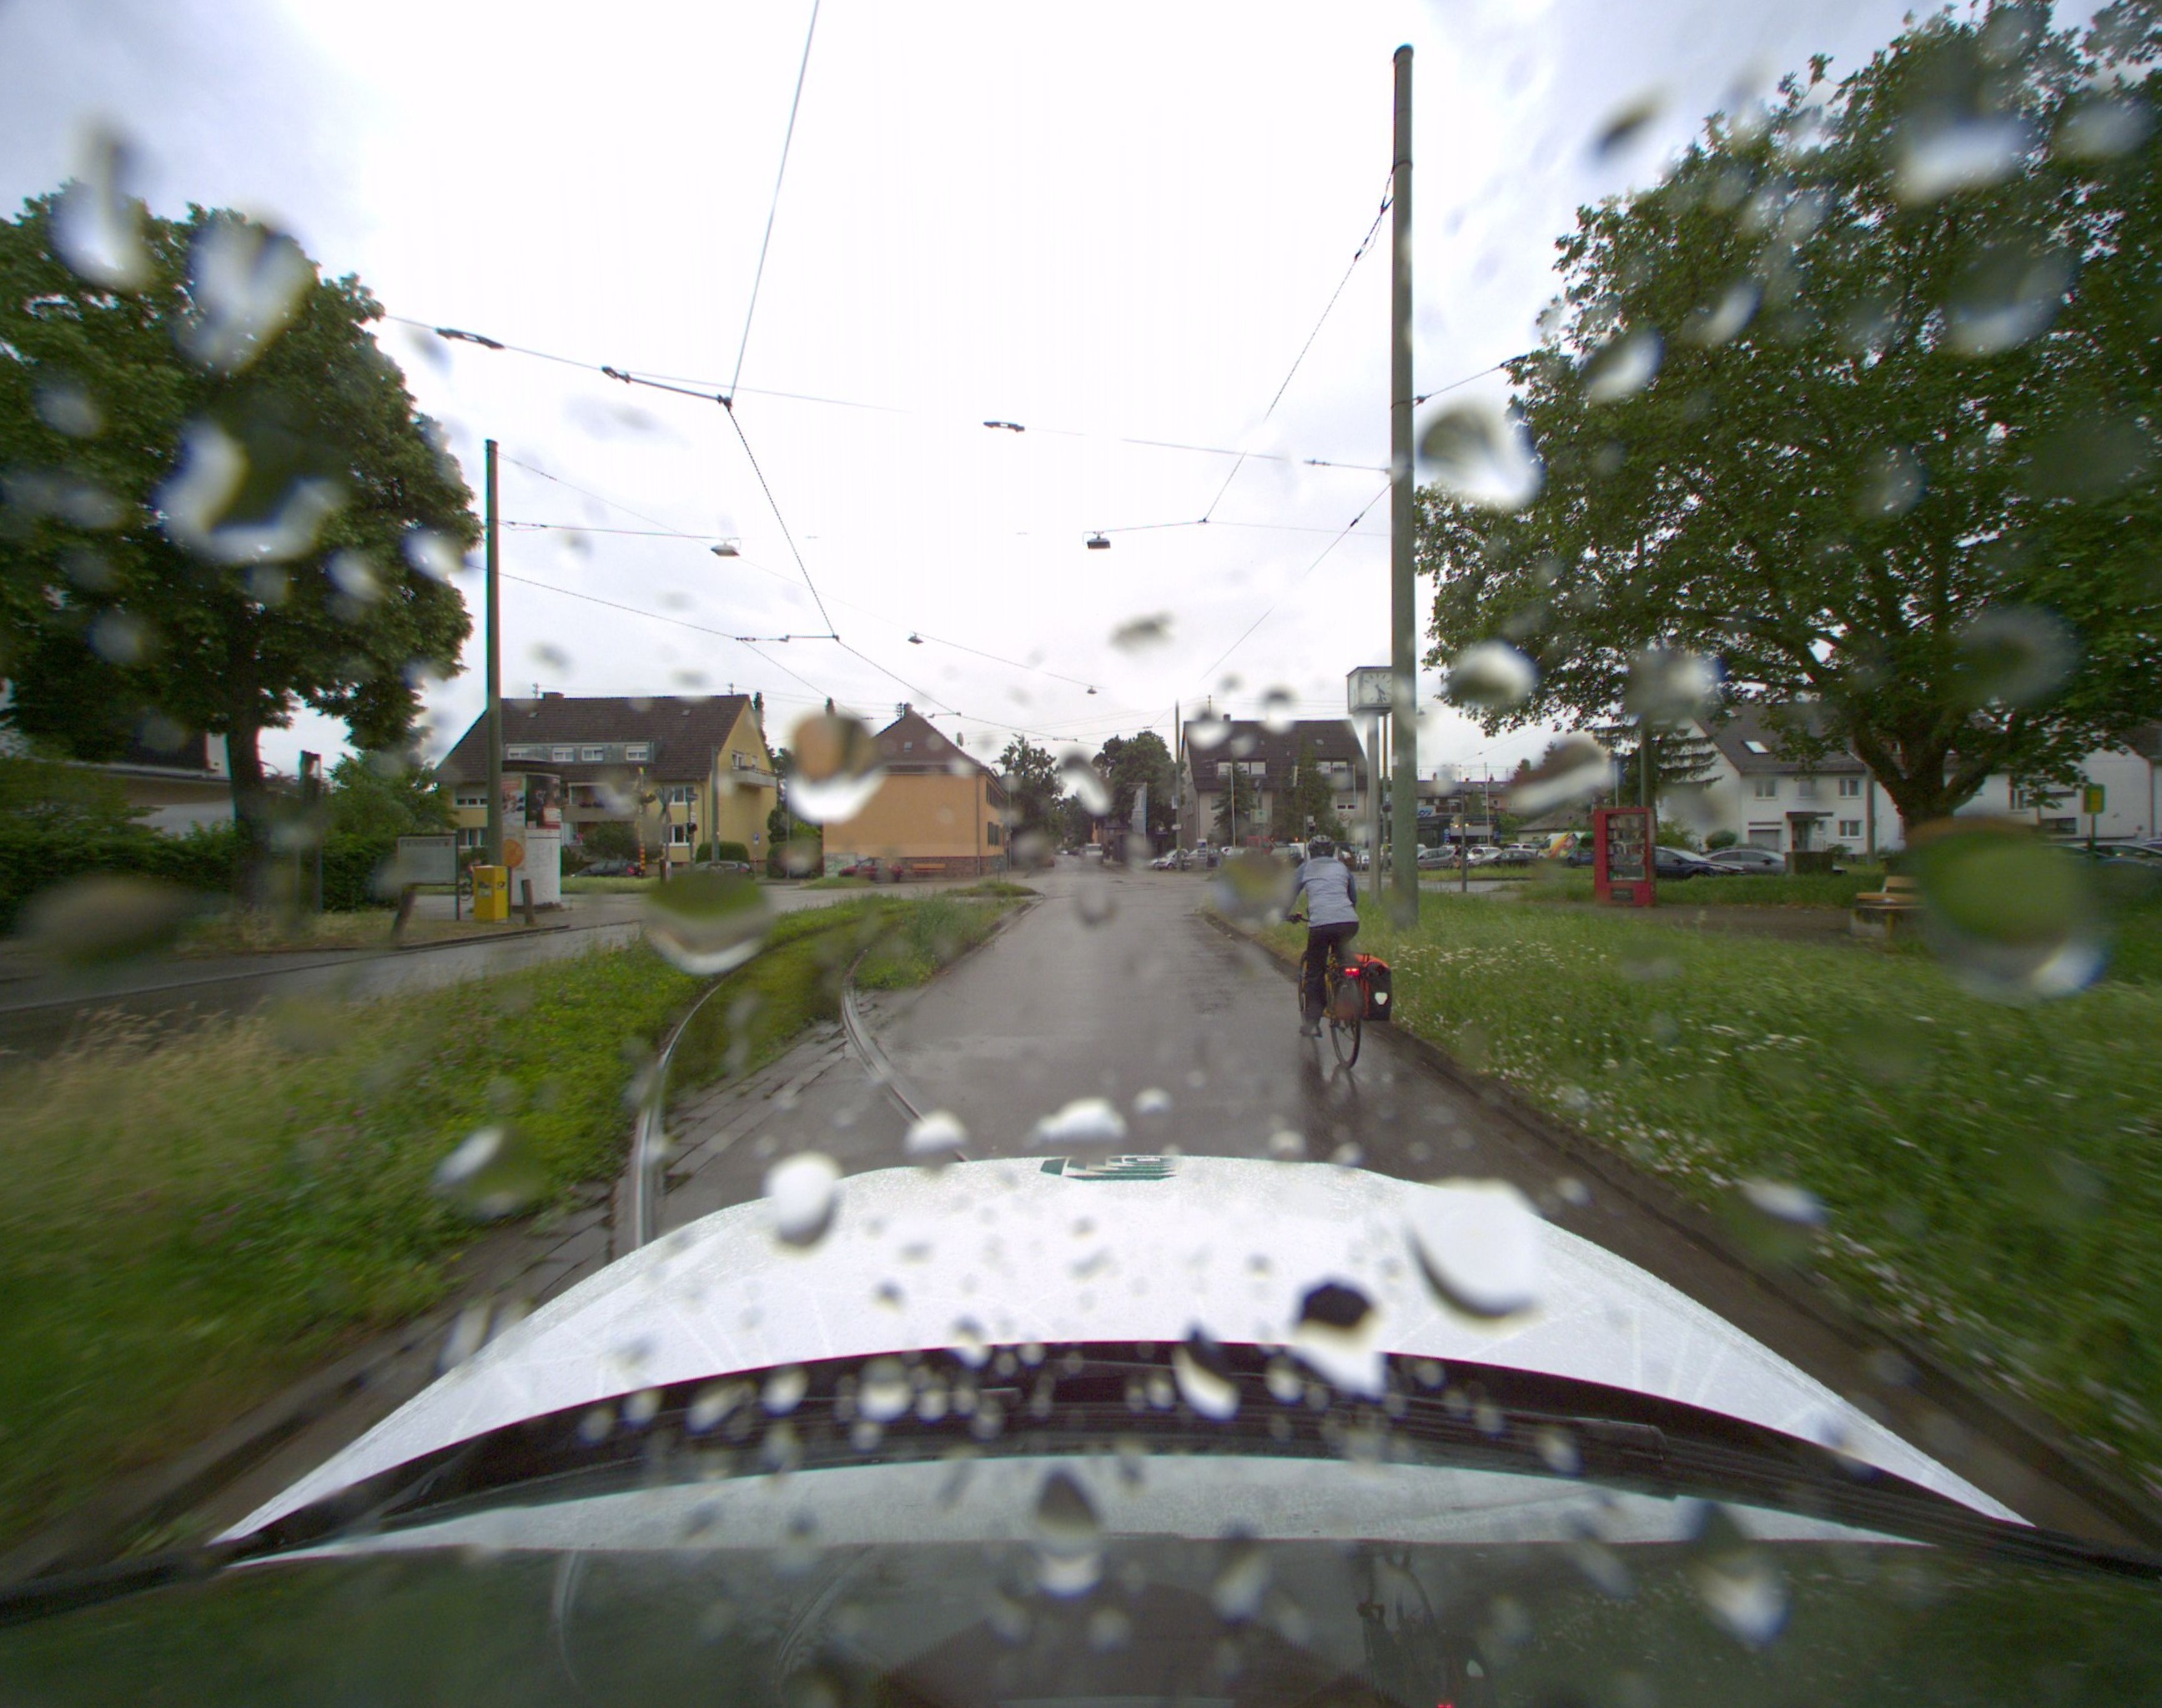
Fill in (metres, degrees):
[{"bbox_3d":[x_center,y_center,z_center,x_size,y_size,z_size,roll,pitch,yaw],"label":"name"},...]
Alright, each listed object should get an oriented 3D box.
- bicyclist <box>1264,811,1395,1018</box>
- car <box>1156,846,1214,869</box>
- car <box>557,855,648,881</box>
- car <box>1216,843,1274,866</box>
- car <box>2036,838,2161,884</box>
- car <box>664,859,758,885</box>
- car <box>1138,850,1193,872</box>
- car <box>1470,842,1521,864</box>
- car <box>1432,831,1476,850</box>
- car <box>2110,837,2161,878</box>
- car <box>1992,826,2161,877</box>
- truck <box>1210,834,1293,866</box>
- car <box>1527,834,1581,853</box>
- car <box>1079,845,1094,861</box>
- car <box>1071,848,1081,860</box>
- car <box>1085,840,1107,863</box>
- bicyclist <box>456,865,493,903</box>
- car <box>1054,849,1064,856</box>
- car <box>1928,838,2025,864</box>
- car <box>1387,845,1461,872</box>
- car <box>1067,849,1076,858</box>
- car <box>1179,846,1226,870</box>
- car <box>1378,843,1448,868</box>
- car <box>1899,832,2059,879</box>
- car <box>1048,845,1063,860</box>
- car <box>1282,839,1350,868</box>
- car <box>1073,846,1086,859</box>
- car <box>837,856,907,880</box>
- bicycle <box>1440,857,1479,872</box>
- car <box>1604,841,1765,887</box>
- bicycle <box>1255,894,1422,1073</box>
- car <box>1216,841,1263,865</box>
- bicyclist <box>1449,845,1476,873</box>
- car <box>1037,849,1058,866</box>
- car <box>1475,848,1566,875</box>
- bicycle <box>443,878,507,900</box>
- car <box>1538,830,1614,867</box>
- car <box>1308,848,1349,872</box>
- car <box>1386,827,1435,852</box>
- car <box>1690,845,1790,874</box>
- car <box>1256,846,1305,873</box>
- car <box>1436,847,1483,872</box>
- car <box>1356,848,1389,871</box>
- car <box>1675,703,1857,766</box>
[{"bbox_3d":[1.905,0.439,6.358,0.748,1.485,0.847,-2,0,2],"label":"bicyclist"},{"bbox_3d":[7.694,0.250,60.233,3.872,1.578,1.796,-2,0,-20],"label":"car"},{"bbox_3d":[-26.939,0.771,45.948,3.978,1.332,1.758,1,0,-3],"label":"car"},{"bbox_3d":[12.220,0.026,60.554,3.933,1.598,2.010,-1,-1,20],"label":"car"},{"bbox_3d":[36.589,0.271,28.533,1.970,1.553,3.954,1,-2,-38],"label":"car"},{"bbox_3d":[-21.193,0.994,46.810,4.479,1.396,1.966,-1,0,-2],"label":"car"},{"bbox_3d":[6.590,0.557,63.534,3.872,1.578,1.796,-2,0,-20],"label":"car"},{"bbox_3d":[27.883,-0.083,54.901,1.710,1.396,3.846,1,0,4],"label":"car"},{"bbox_3d":[31.335,-1.147,68.514,1.777,1.498,3.996,1,0,-2],"label":"car"},{"bbox_3d":[39.851,0.088,28.776,1.872,1.480,4.081,-1,-2,-31],"label":"car"},{"bbox_3d":[34.215,-0.039,27.783,1.832,1.501,3.955,1,-4,-36],"label":"car"},{"bbox_3d":[13.241,-0.282,63.303,6.032,2.272,2.010,-1,-1,20],"label":"truck"},{"bbox_3d":[41.720,-0.910,71.843,4.450,1.580,1.781,-1,-1,-22],"label":"car"},{"bbox_3d":[0.692,-0.154,109.567,1.987,2.013,4.000,1,0,0],"label":"car"},{"bbox_3d":[-0.915,-0.001,148.976,1.824,2.013,3.997,1,0,-2],"label":"car"},{"bbox_3d":[1.681,-0.273,92.180,2.148,2.572,4.130,1,0,-2],"label":"car"},{"bbox_3d":[-25.063,1.222,33.661,0.909,1.558,0.833,0,-1,-3],"label":"bicyclist"},{"bbox_3d":[-5.927,-0.360,218.497,1.832,1.697,4.009,1,0,-16],"label":"car"},{"bbox_3d":[52.795,-0.196,48.051,3.918,1.423,1.606,1,0,0],"label":"car"},{"bbox_3d":[20.236,0.242,48.129,3.621,1.504,1.722,1,0,-1],"label":"car"},{"bbox_3d":[-2.300,-0.196,194.799,1.824,2.013,3.997,1,0,-2],"label":"car"},{"bbox_3d":[8.508,0.286,56.828,1.784,1.578,3.897,-1,0,33],"label":"car"},{"bbox_3d":[24.103,0.126,59.229,4.415,1.687,1.761,-1,-1,2],"label":"car"},{"bbox_3d":[30.810,0.104,28.014,1.762,1.506,3.478,1,-3,-35],"label":"car"},{"bbox_3d":[-3.577,-0.221,114.000,1.987,2.013,4.000,1,0,0],"label":"car"},{"bbox_3d":[17.138,-0.015,59.567,4.415,2.014,2.001,-1,-1,2],"label":"car"},{"bbox_3d":[-0.286,-0.231,130.496,1.824,2.013,3.997,1,0,-2],"label":"car"},{"bbox_3d":[-12.154,0.812,47.546,3.596,1.339,1.721,1,0,-3],"label":"car"},{"bbox_3d":[21.537,0.585,46.371,1.809,0.786,0.942,-2,0,-2],"label":"bicycle"},{"bbox_3d":[20.895,0.323,28.364,1.809,1.476,4.137,-1,0,-30],"label":"car"},{"bbox_3d":[1.924,0.915,6.400,0.749,1.073,1.928,-2,0,2],"label":"bicycle"},{"bbox_3d":[10.834,-0.080,55.436,1.784,1.578,3.897,-1,0,33],"label":"car"},{"bbox_3d":[21.723,0.283,46.375,1.036,1.598,0.949,-2,0,-2],"label":"bicyclist"},{"bbox_3d":[-3.230,0.351,80.070,1.988,1.618,3.997,-1,0,-2],"label":"car"},{"bbox_3d":[25.605,0.424,47.501,4.362,1.339,1.722,2,0,-1],"label":"car"},{"bbox_3d":[-25.032,1.442,33.650,1.974,0.912,0.823,0,-1,-3],"label":"bicycle"},{"bbox_3d":[34.222,-0.375,56.531,2.138,2.406,5.148,1,0,0],"label":"car"},{"bbox_3d":[16.673,0.383,54.739,1.810,1.504,4.083,1,0,28],"label":"car"},{"bbox_3d":[22.238,-0.936,55.101,1.795,1.578,3.874,-2,0,2],"label":"car"},{"bbox_3d":[36.441,0.304,45.081,3.976,1.476,1.999,-1,0,-2],"label":"car"},{"bbox_3d":[13.509,0.322,54.910,1.974,1.717,4.025,-1,0,33],"label":"car"},{"bbox_3d":[25.629,0.360,55.210,1.710,1.573,3.621,1,0,4],"label":"car"},{"bbox_3d":[19.516,0.360,54.646,1.814,1.504,4.075,1,0,16],"label":"car"},{"bbox_3d":[23.585,-4.054,28.256,1.807,1.476,4.511,-1,0,-25],"label":"car"}]
